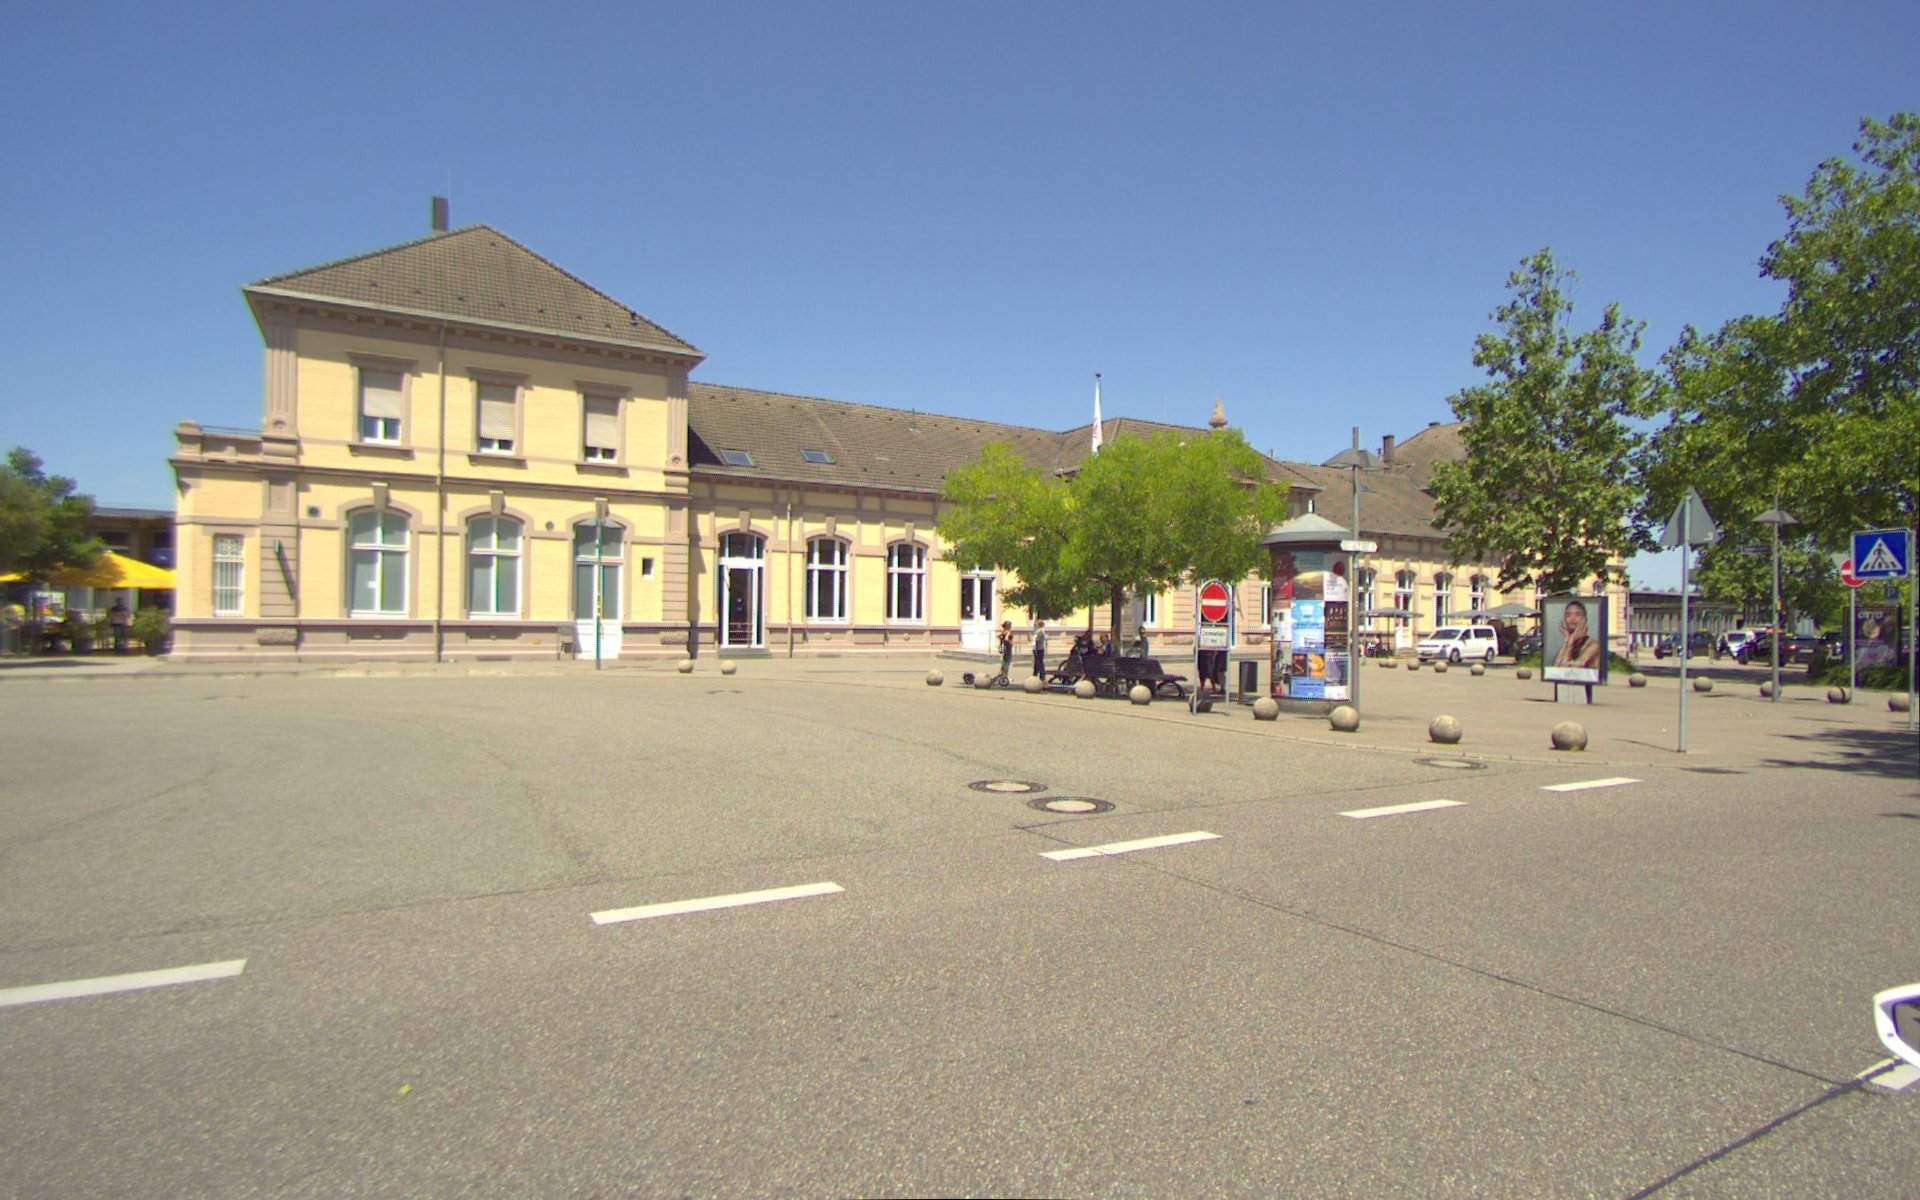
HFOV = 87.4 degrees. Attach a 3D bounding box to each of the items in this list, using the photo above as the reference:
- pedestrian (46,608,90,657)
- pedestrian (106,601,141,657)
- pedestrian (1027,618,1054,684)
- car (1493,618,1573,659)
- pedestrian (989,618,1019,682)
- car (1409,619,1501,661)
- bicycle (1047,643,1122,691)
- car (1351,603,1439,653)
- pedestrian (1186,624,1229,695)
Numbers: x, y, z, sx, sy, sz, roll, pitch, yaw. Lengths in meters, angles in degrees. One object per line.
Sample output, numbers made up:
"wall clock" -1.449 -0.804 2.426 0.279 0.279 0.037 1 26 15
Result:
"pedestrian" -27.744 1.008 31.267 0.952 1.496 0.890 1 -1 -39
"pedestrian" -25.737 0.883 30.919 0.772 1.708 0.659 -1 0 -37
"pedestrian" 2.171 1.372 26.999 0.573 1.732 0.588 1 -2 14
"car" 30.141 2.043 52.808 3.954 2.040 1.984 3 -2 -30
"pedestrian" 1.208 1.352 27.269 0.644 1.695 0.632 1 -2 14
"car" 24.210 1.979 49.058 4.720 1.942 1.743 2 -2 -31
"bicycle" 2.952 1.579 23.907 1.770 1.044 0.487 0 -1 38
"car" 23.018 1.485 53.137 4.948 2.501 1.710 2 0 -32
"pedestrian" 5.979 1.432 24.287 0.708 1.681 0.761 2 -2 -13
